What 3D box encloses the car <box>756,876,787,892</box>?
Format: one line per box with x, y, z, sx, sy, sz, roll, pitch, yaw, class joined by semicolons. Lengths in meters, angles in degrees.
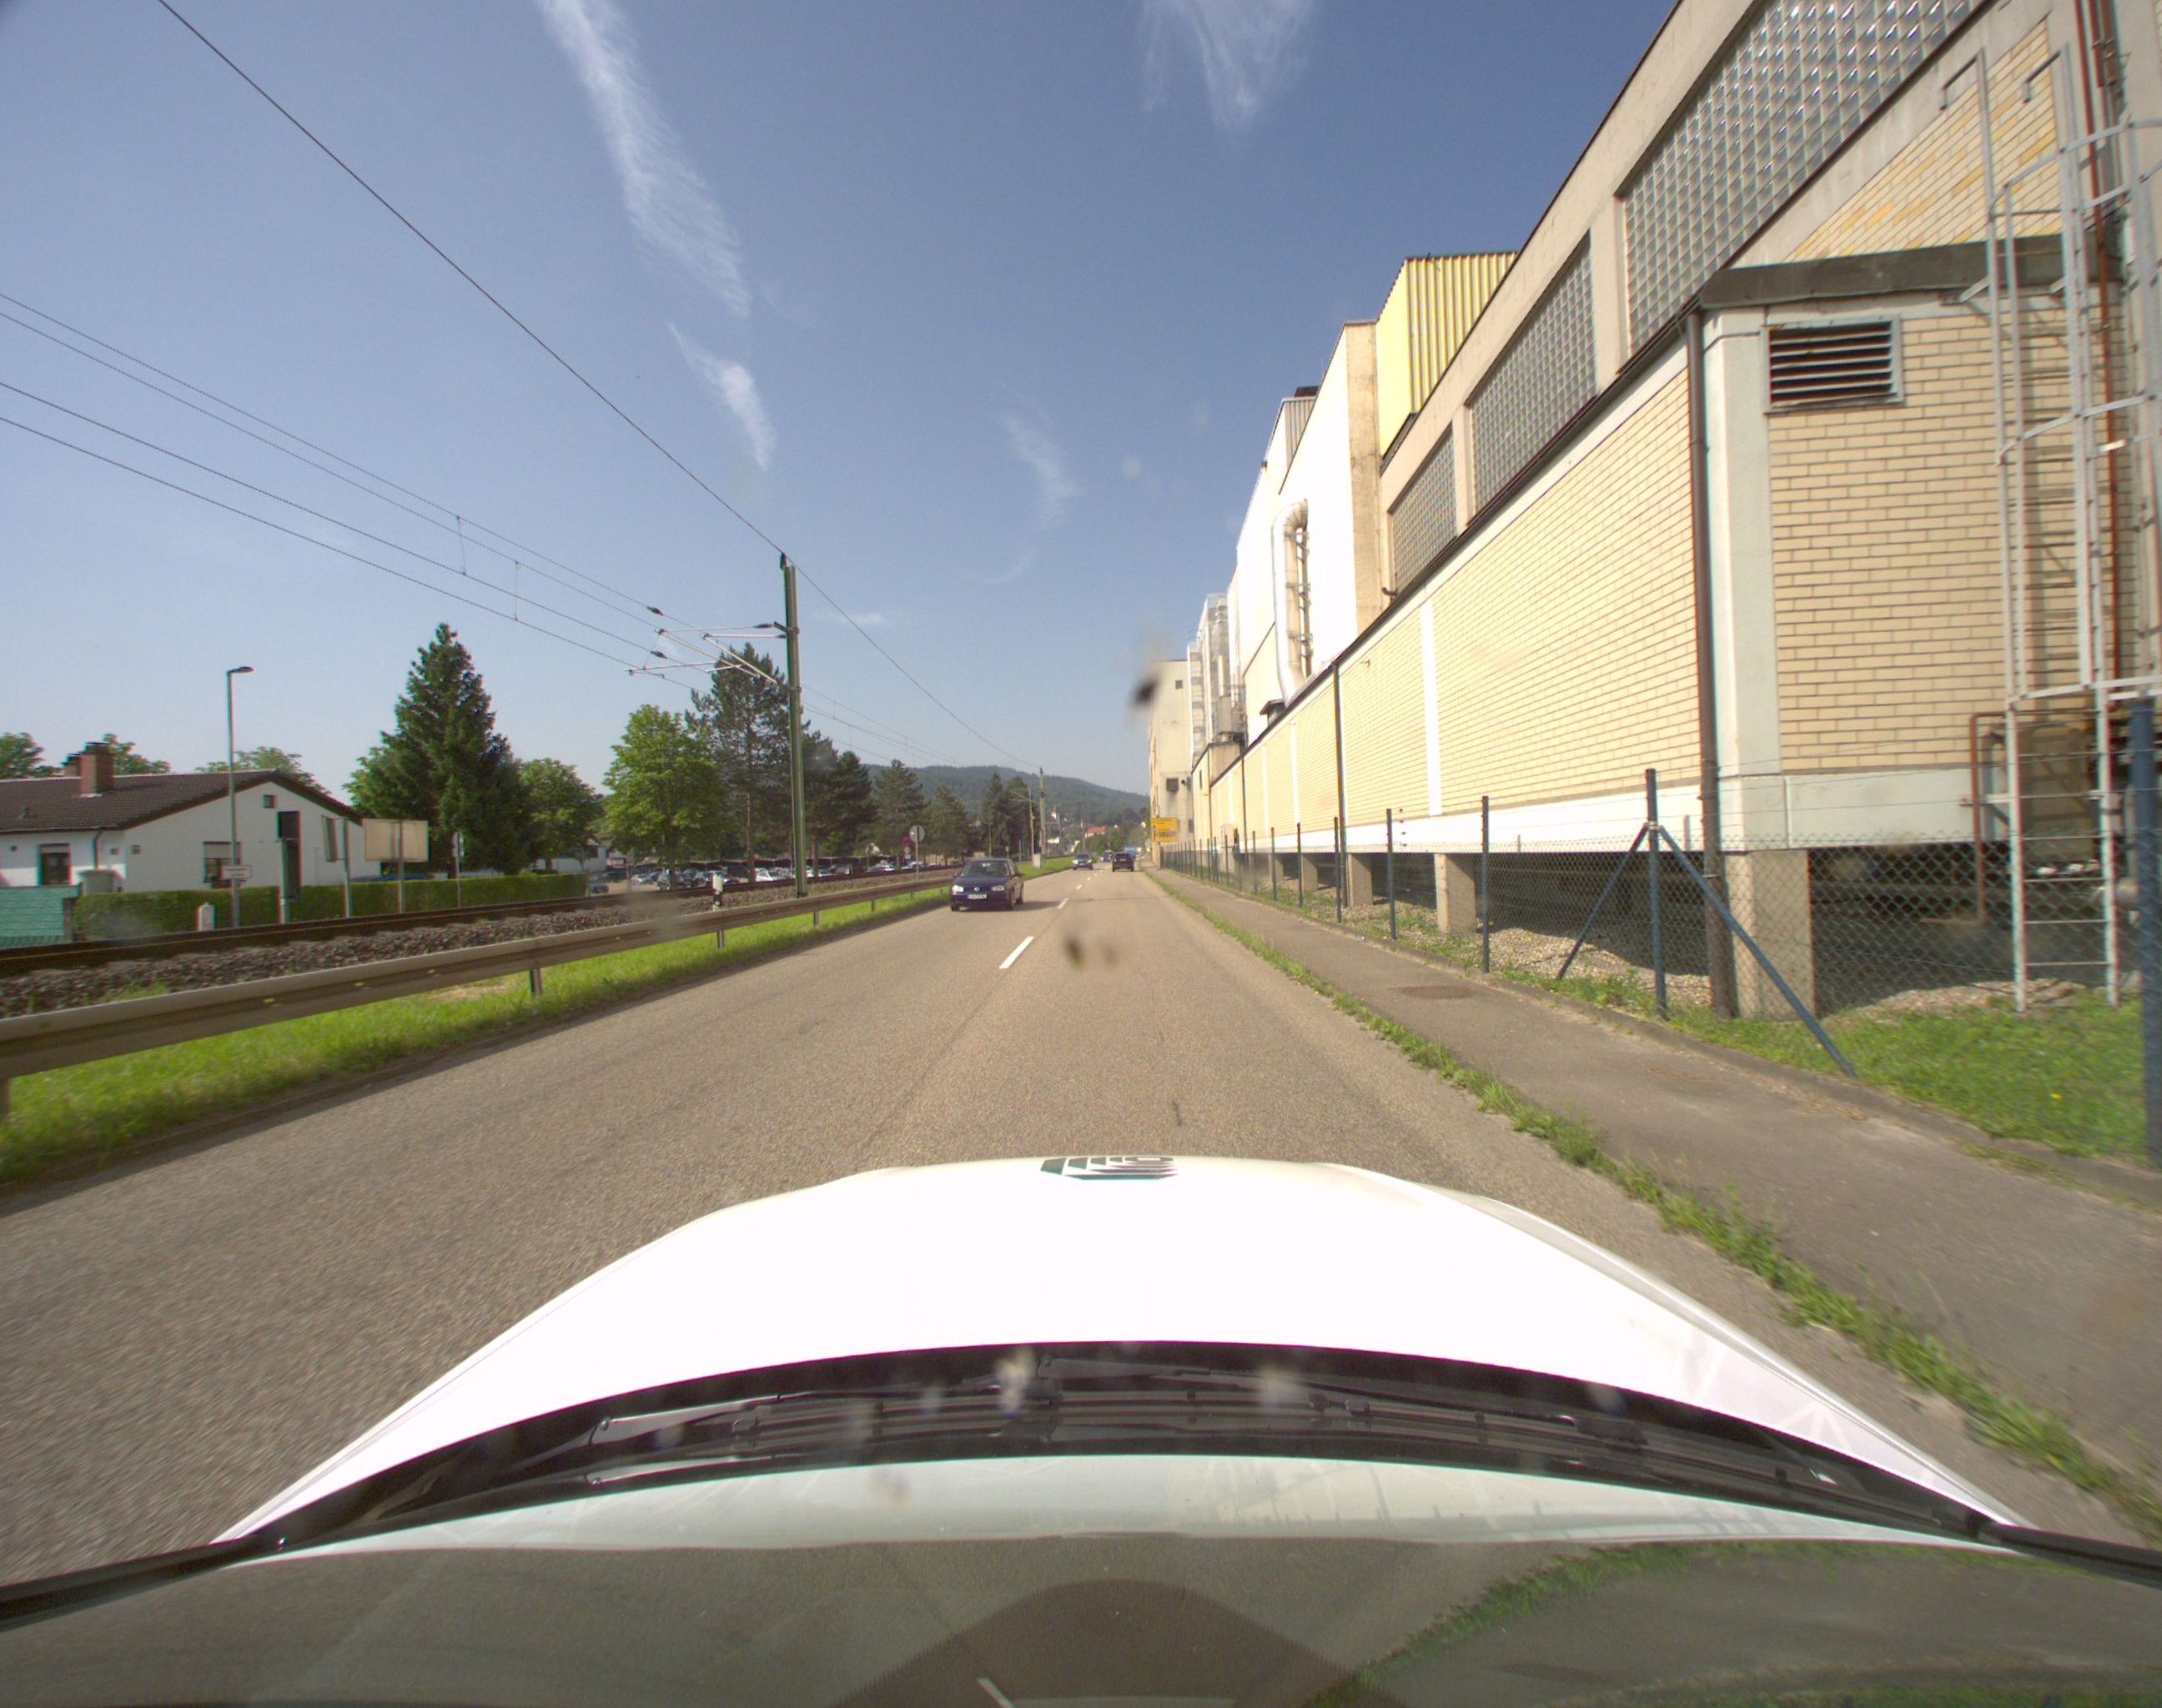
-30.735;2.974;80.799;1.697;1.443;3.807;-2;0;-40;car

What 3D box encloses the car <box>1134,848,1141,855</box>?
15.430;-0.725;222.448;1.659;1.823;3.756;-2;0;5;car

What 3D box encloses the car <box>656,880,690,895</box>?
-39.596;3.246;79.009;3.804;1.406;1.698;-3;0;44;car

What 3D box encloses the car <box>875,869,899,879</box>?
-28.121;2.934;117.950;3.491;1.325;1.467;-3;0;36;car

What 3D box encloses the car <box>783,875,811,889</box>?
-32.203;3.196;92.304;1.697;1.506;3.807;-2;0;-40;car

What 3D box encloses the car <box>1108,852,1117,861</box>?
7.129;0.589;182.342;1.750;2.078;4.814;-1;0;5;car

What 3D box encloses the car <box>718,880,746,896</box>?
-37.068;3.589;86.479;1.697;1.642;3.807;-2;0;-40;car

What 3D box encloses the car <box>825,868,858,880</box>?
-29.466;2.484;100.194;3.541;1.357;1.501;-2;0;-43;car

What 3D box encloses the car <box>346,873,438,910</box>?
-28.867;1.536;34.214;1.386;1.352;2.893;-3;0;-1;car

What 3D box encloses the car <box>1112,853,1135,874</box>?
3.670;0.777;69.774;1.911;1.640;4.005;-2;0;4;car

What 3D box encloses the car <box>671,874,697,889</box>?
-44.655;3.084;91.472;1.697;1.642;3.807;-2;0;-40;car

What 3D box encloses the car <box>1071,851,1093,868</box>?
0.127;0.562;79.588;1.899;1.600;4.573;-2;-1;3;car

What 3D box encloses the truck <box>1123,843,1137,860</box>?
9.107;-0.456;151.255;2.304;2.970;5.968;-2;0;2;truck

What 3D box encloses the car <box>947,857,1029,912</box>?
-2.614;0.821;23.778;1.757;1.403;4.121;-2;0;2;car

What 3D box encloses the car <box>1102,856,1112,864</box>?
4.584;1.053;143.217;1.761;1.405;4.299;-3;0;2;car

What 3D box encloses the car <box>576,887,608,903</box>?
-45.575;3.775;75.843;1.698;1.332;3.805;-2;0;-44;car
